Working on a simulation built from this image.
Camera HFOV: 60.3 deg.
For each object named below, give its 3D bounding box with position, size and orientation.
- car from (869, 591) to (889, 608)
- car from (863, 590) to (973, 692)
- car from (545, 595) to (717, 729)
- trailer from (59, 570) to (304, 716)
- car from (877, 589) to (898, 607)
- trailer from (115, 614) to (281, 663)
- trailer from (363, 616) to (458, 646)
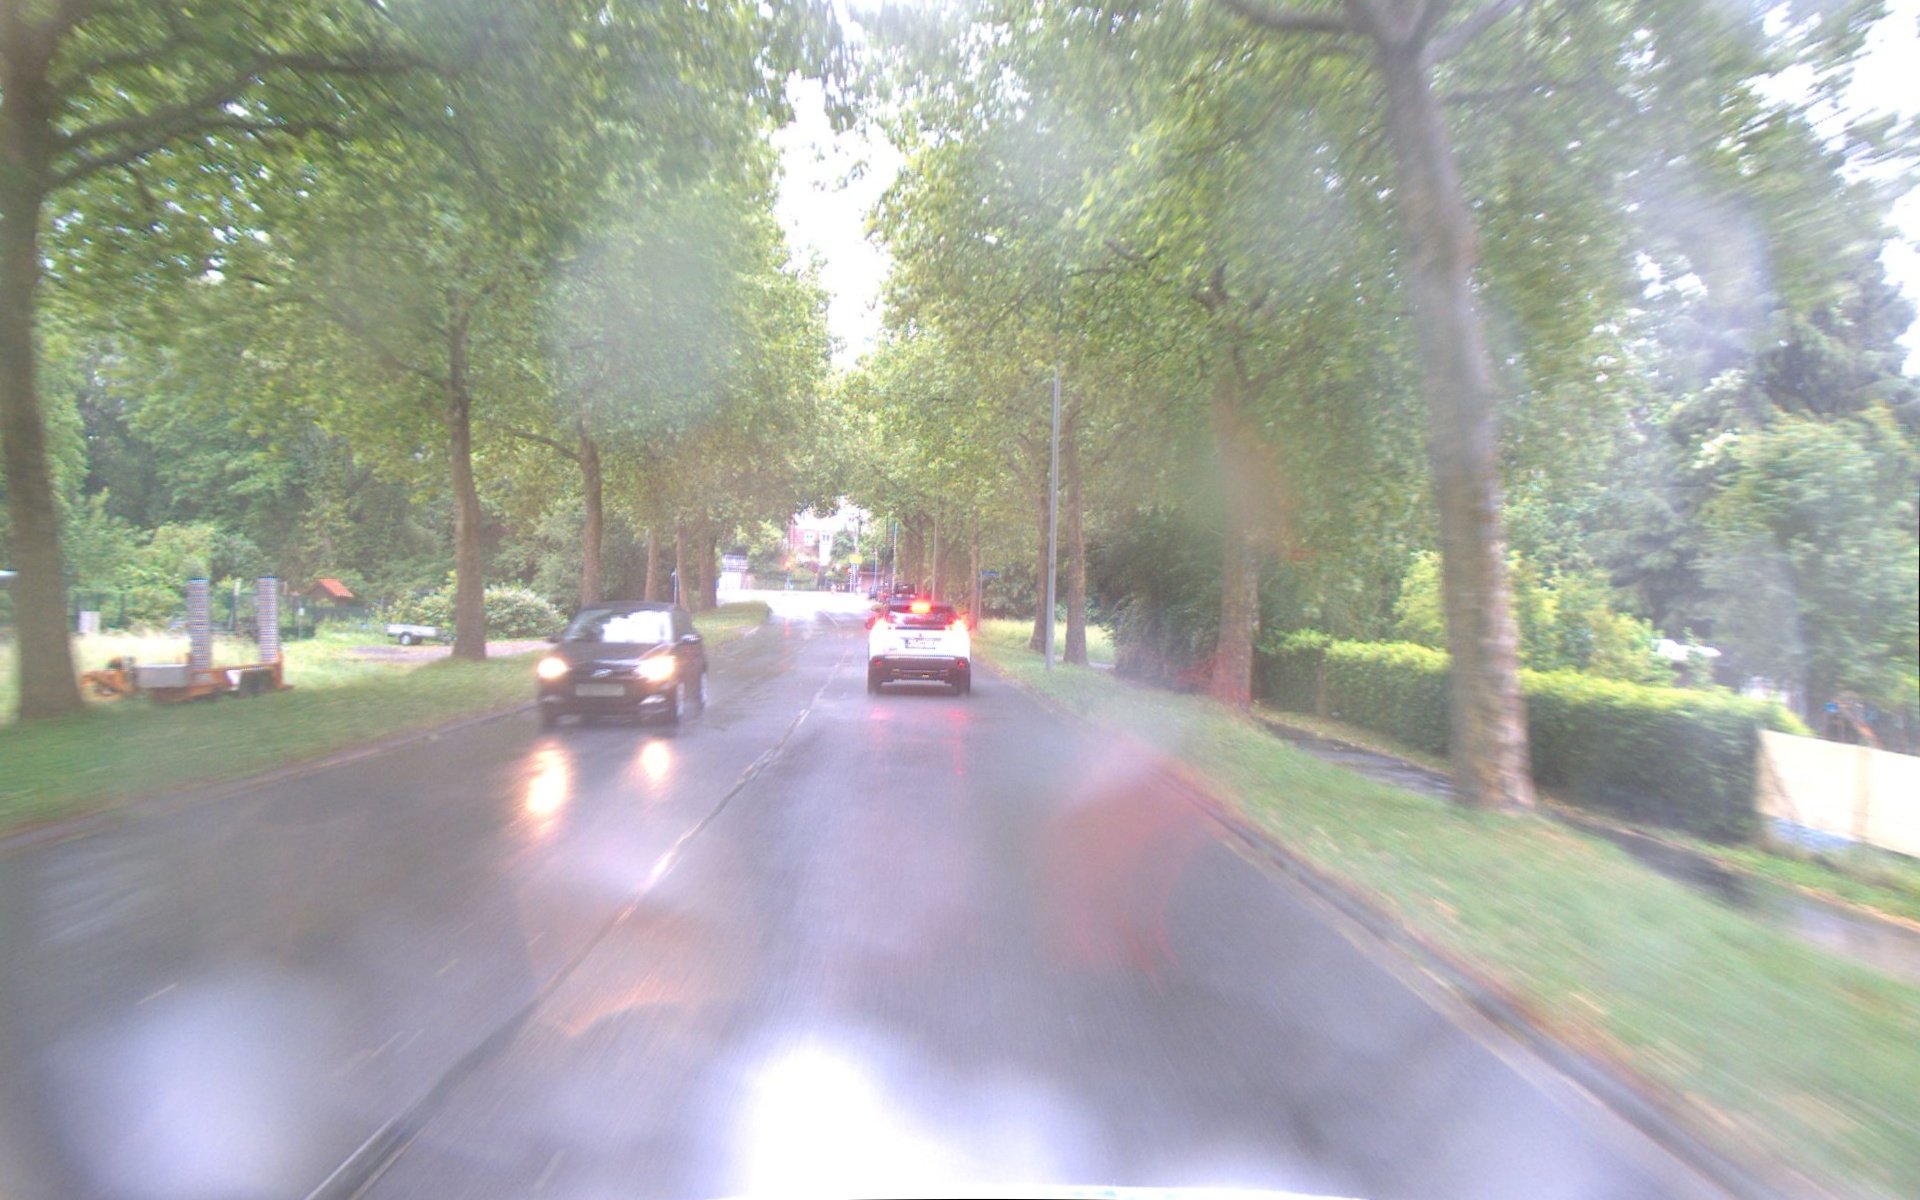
[{"bbox_3d":[-8.287,-0.065,169.817,1.790,1.624,3.653,2,0,0],"label":"car"},{"bbox_3d":[-0.734,0.663,28.992,1.757,1.606,3.843,2,0,-2],"label":"car"},{"bbox_3d":[-4.125,0.731,21.255,1.673,1.512,3.877,2,0,-5],"label":"car"},{"bbox_3d":[-15.406,0.794,33.163,2.435,2.612,5.330,2,0,-2],"label":"trailer"},{"bbox_3d":[-7.031,-0.216,160.103,1.790,1.624,3.653,2,0,0],"label":"car"},{"bbox_3d":[-23.102,1.174,50.278,4.155,1.400,1.996,1,0,-10],"label":"trailer"},{"bbox_3d":[-22.850,1.282,68.930,3.488,1.199,1.819,1,0,-10],"label":"trailer"}]
